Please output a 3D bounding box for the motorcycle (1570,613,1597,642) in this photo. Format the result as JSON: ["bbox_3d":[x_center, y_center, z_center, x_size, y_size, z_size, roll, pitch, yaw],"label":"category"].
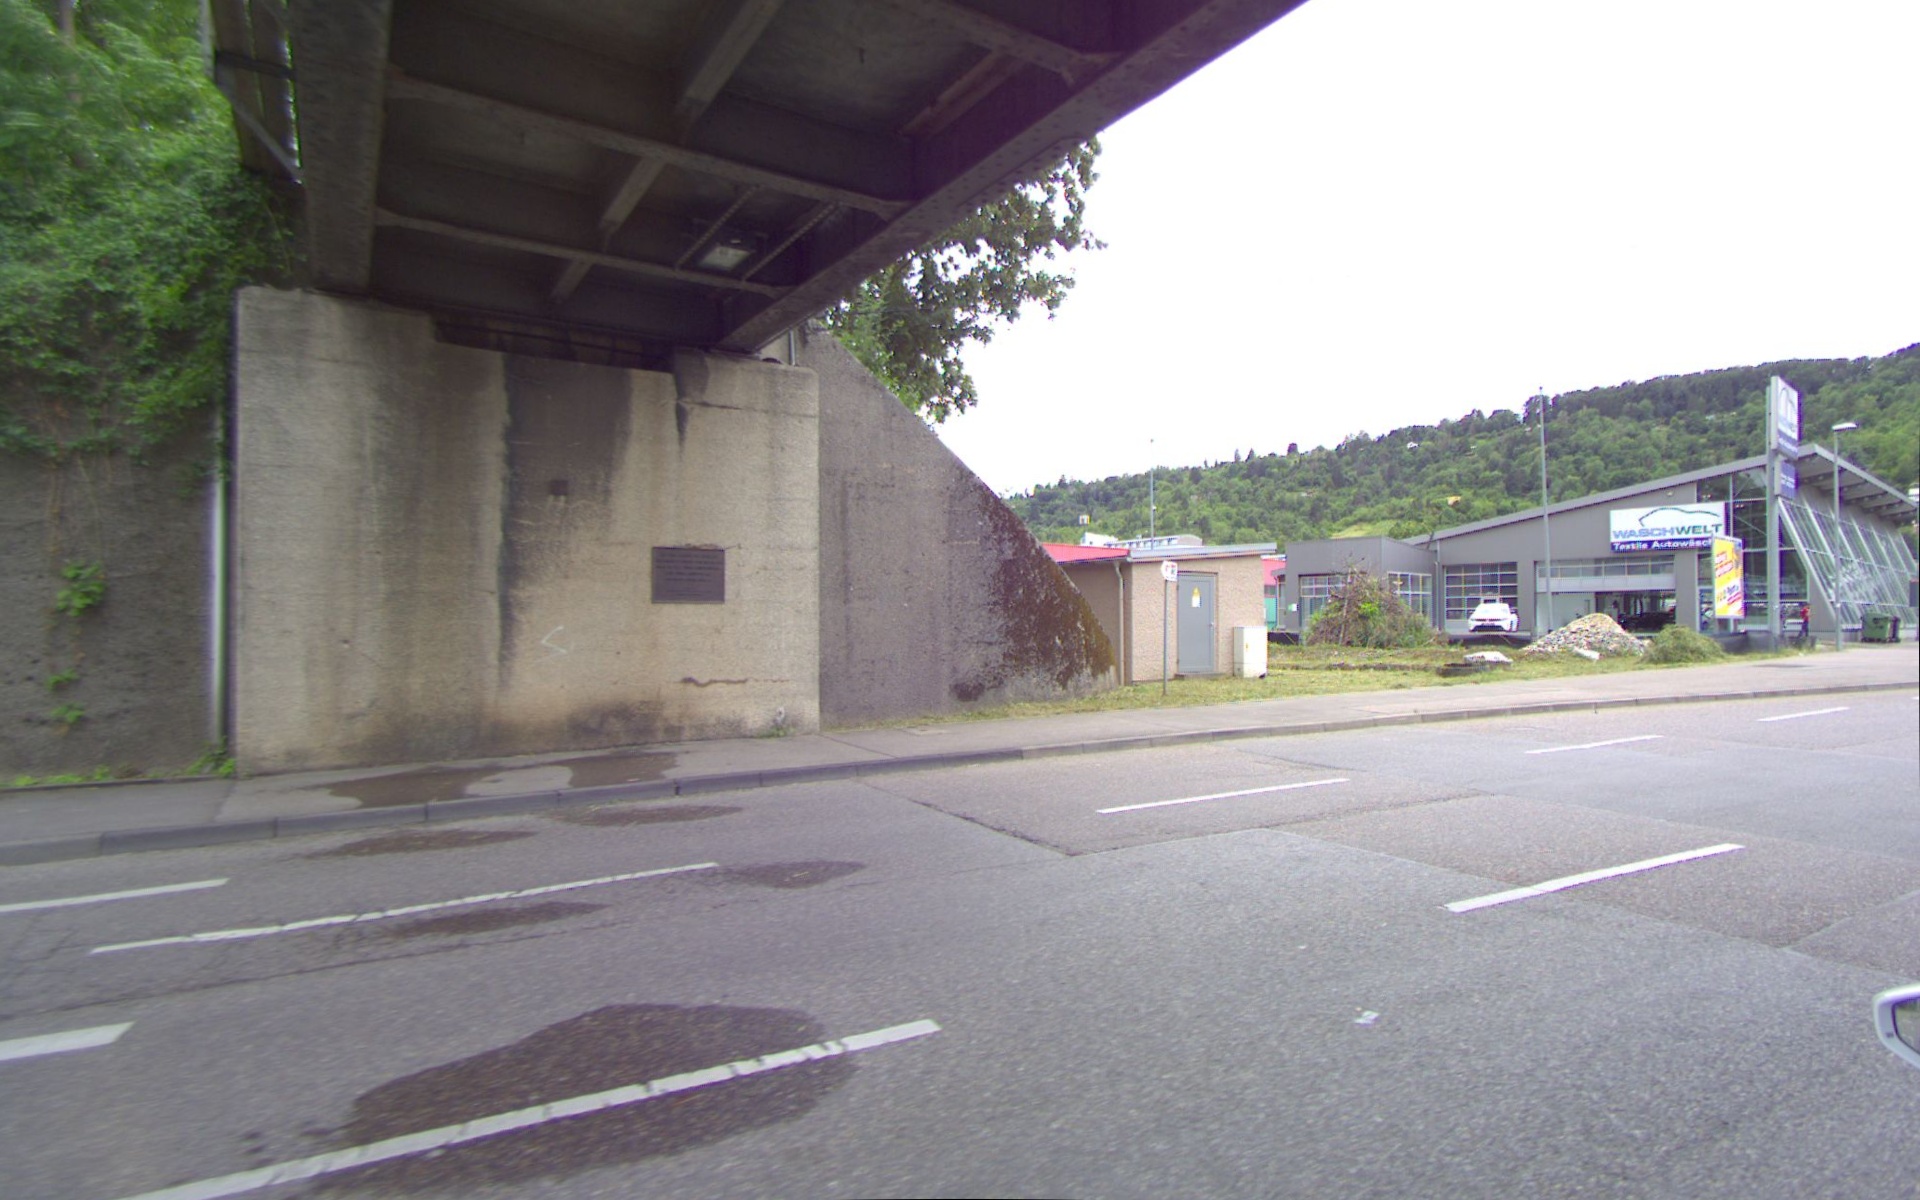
[{"bbox_3d":[38.627,1.701,62.207,2.347,1.732,0.832,2,-1,-43],"label":"motorcycle"}]

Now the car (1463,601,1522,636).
[{"bbox_3d":[24.554,0.850,46.281,1.967,1.556,3.988,0,-1,35],"label":"car"}]

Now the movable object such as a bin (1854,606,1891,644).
[{"bbox_3d":[43.743,1.218,48.151,1.050,1.780,1.133,2,-2,-39],"label":"movable object such as a bin"}]

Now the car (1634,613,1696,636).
[{"bbox_3d":[55.950,1.901,79.726,3.939,1.751,1.991,0,-1,39],"label":"car"}]

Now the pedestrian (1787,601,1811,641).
[{"bbox_3d":[40.107,1.000,48.029,0.815,1.893,0.715,-1,-2,38],"label":"pedestrian"}]
